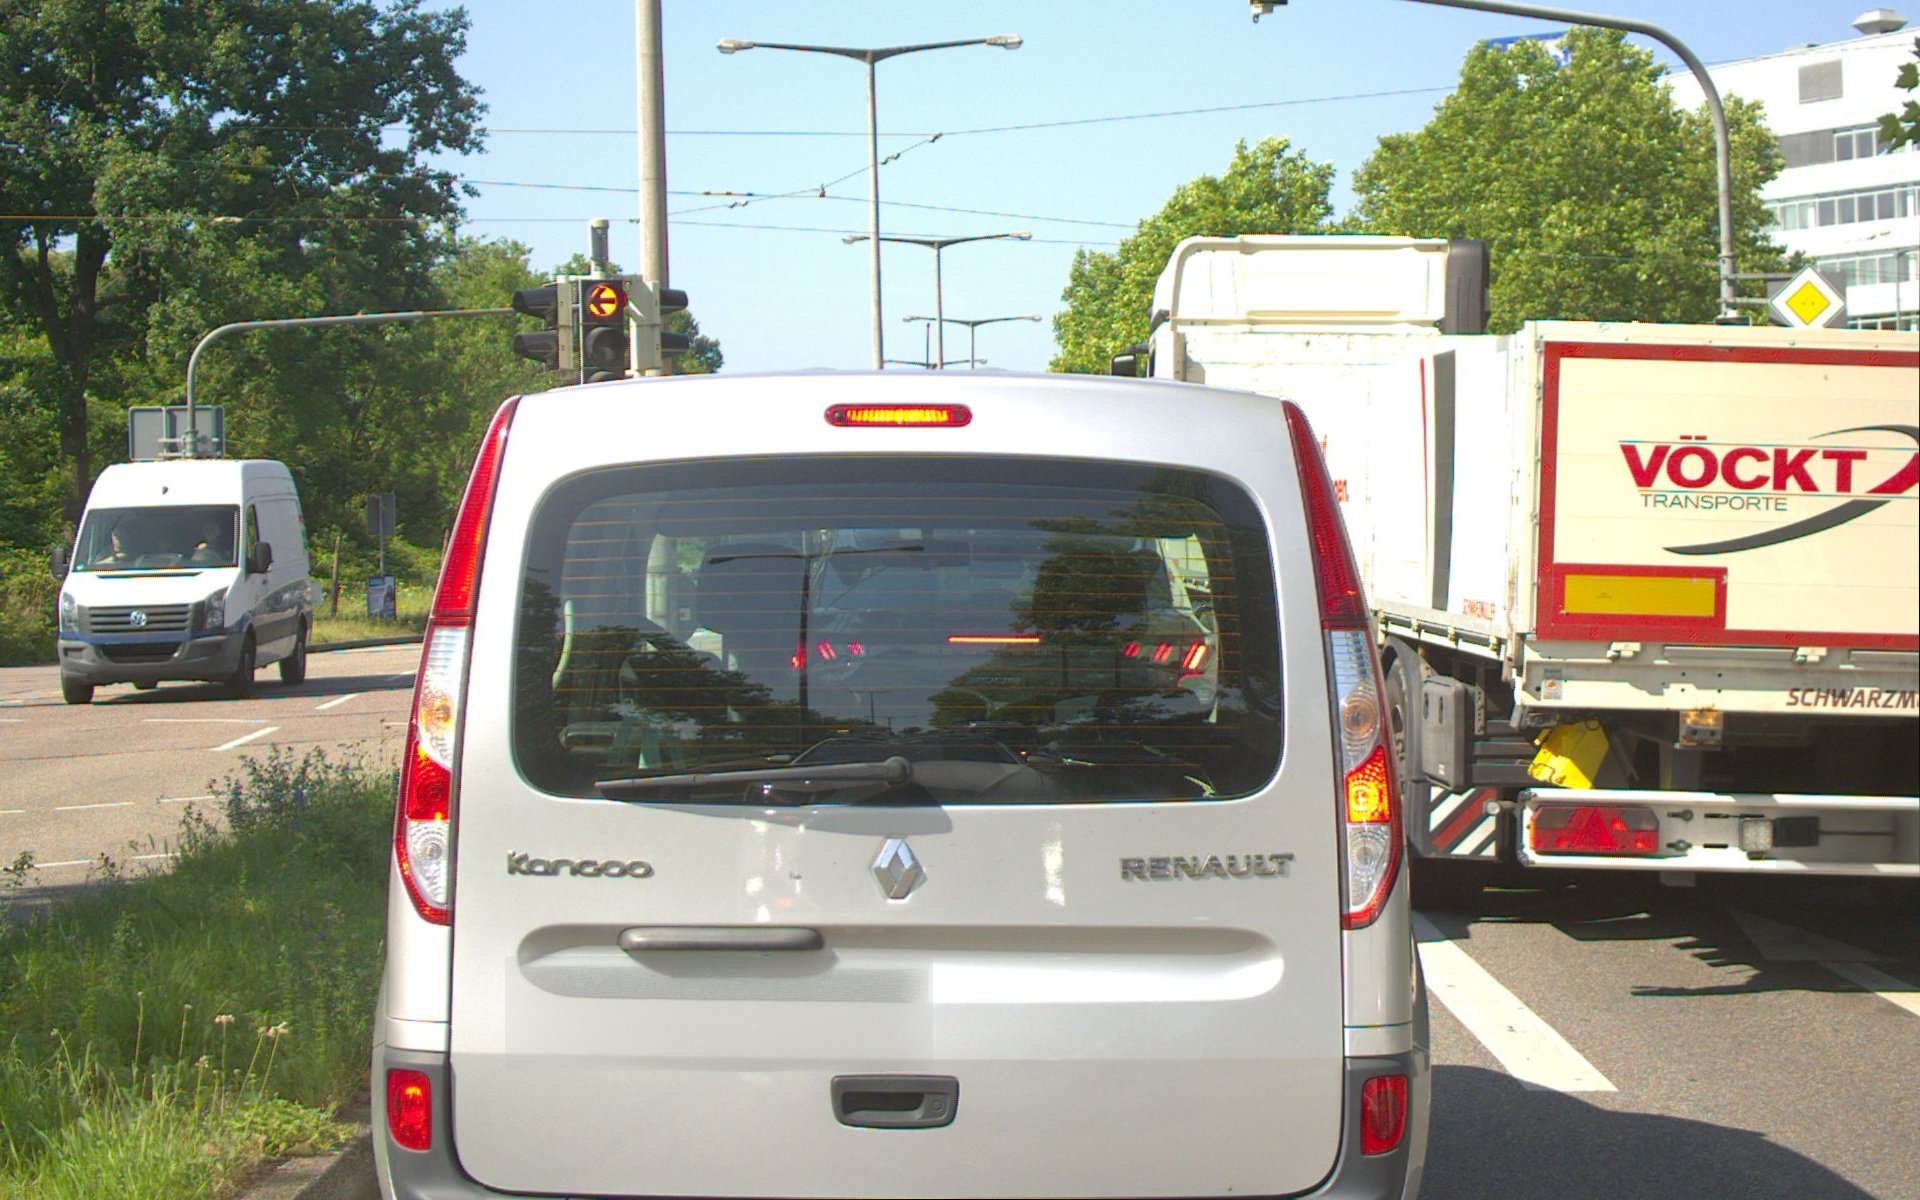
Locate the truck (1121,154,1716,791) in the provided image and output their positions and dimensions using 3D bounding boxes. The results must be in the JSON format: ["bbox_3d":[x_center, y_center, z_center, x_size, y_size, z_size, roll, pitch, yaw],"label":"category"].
[{"bbox_3d":[2.872,-0.799,23.972,3.071,3.745,7.476,0,1,-1],"label":"truck"}]

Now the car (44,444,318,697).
[{"bbox_3d":[-8.590,-0.343,38.431,2.058,2.605,5.870,0,1,-4],"label":"car"}]

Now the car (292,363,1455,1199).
[{"bbox_3d":[-0.136,0.500,7.153,1.749,1.766,3.949,0,1,0],"label":"car"}]

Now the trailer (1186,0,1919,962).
[{"bbox_3d":[2.976,-0.800,16.959,3.016,3.728,12.240,0,1,0],"label":"trailer"}]
